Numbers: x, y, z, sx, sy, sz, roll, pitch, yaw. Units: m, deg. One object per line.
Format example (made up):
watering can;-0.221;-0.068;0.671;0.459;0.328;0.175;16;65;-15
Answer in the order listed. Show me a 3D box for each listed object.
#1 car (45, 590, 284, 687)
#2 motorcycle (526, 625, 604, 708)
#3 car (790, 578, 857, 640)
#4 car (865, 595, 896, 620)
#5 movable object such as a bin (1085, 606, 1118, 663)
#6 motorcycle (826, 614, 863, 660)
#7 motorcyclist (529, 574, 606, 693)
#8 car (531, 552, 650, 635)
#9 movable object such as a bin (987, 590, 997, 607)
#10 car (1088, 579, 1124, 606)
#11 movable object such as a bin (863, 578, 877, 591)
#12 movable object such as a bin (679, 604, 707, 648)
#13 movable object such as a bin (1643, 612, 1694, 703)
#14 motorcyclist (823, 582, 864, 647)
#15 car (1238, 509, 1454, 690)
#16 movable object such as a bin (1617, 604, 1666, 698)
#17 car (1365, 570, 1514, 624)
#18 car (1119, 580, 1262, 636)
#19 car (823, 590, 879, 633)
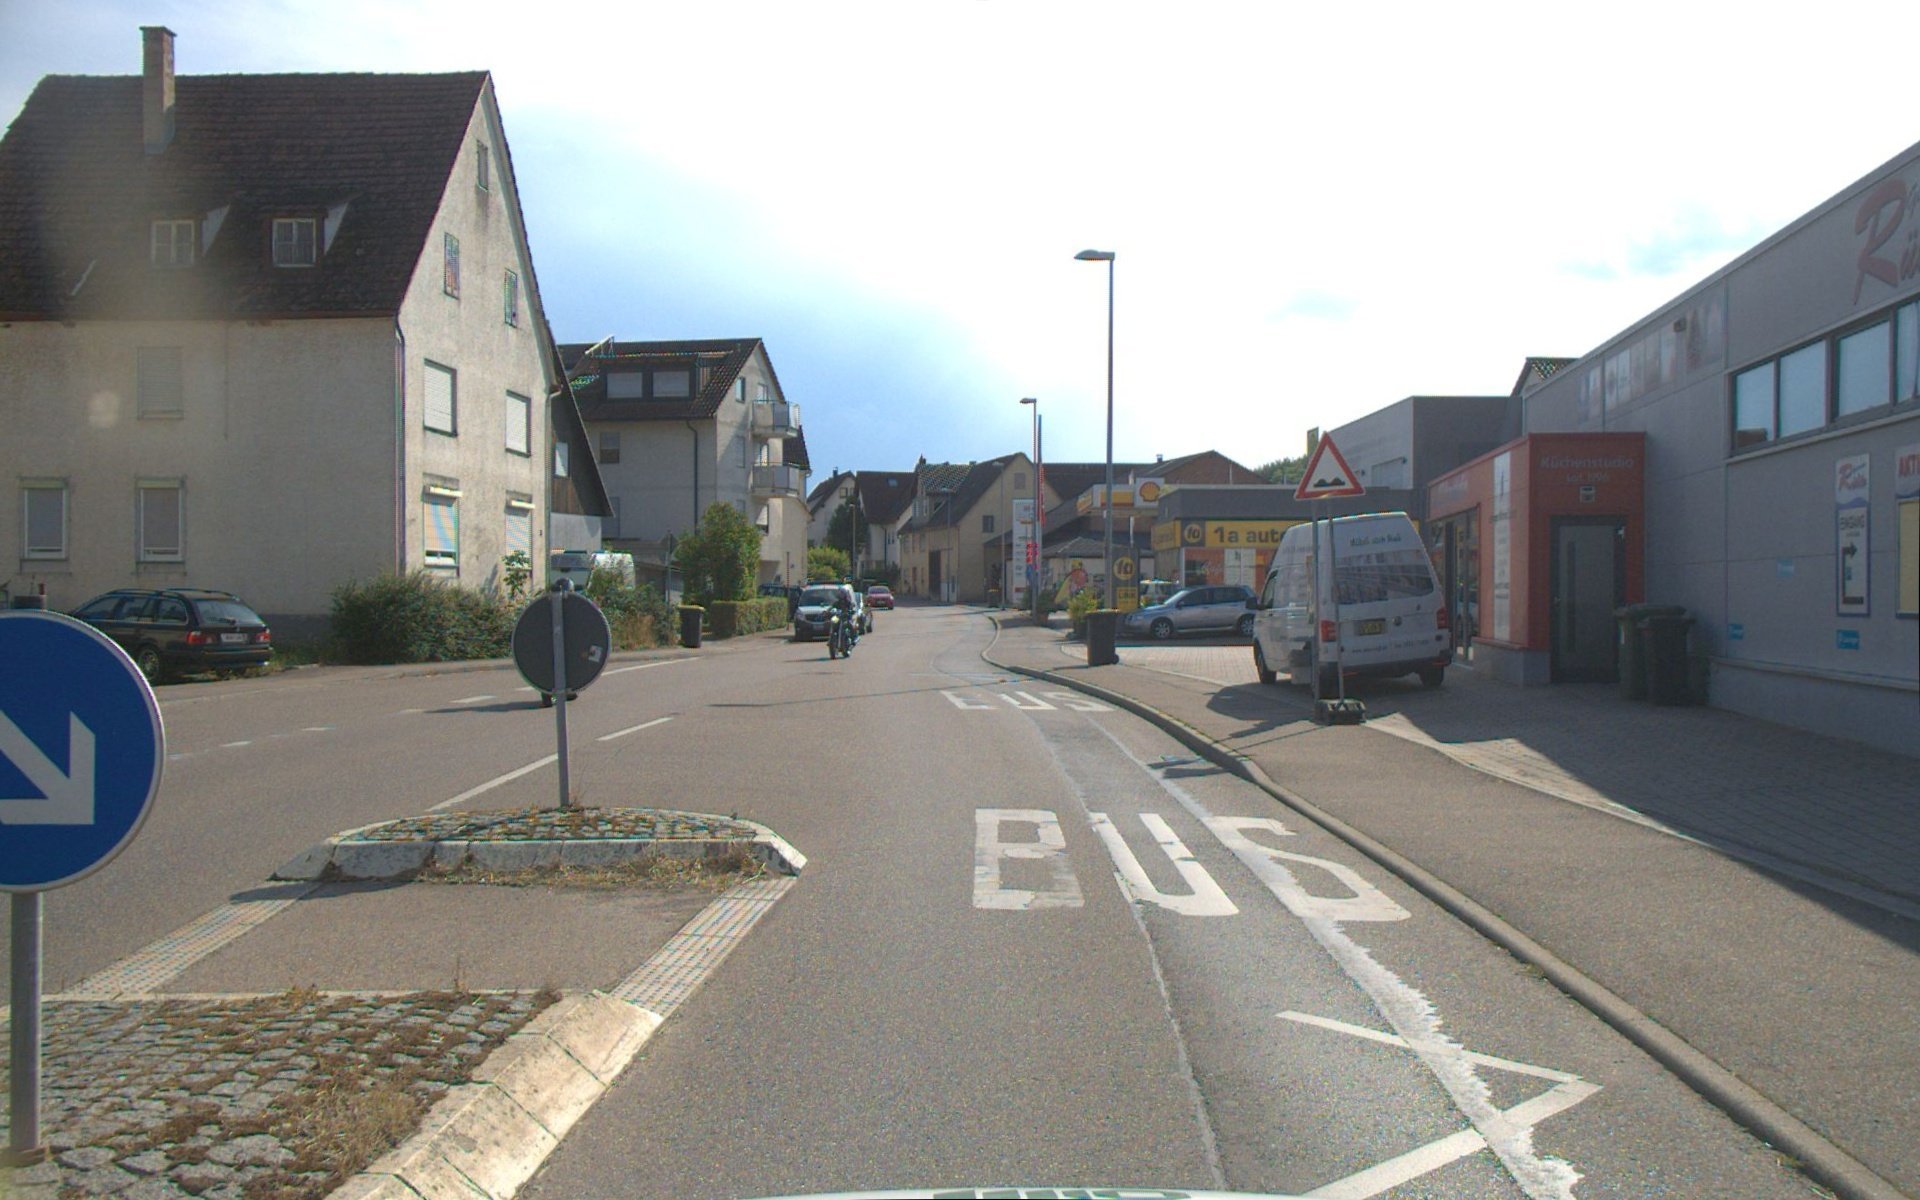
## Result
car;-13.400;0.599;27.822;3.911;1.458;1.651;1;1;29
motorcycle;-5.352;0.884;22.503;0.527;1.030;2.028;2;0;0
car;-4.418;0.270;54.037;1.681;1.905;4.193;-1;1;2
car;-5.047;0.473;104.407;1.676;1.460;3.774;-2;0;-7
movable object such as a bin;2.810;0.686;32.823;0.556;1.094;0.572;-1;0;-4
motorcycle;-2.674;0.841;38.471;0.513;1.030;2.029;1;0;5
motorcyclist;-5.337;0.453;22.519;0.721;1.553;1.016;3;-1;0
car;-12.383;-0.253;55.957;2.113;2.641;6.098;1;1;5
movable object such as a bin;2.015;-0.083;104.176;0.640;1.092;0.513;0;1;-3
car;8.206;-0.427;93.316;1.546;1.452;4.380;0;1;-1
movable object such as a bin;-8.346;-1.425;153.226;1.140;1.188;0.653;0;1;-12
movable object such as a bin;-7.009;0.683;43.393;0.598;1.120;0.576;1;-1;1
movable object such as a bin;7.854;0.631;18.338;0.420;0.983;0.431;0;0;8
motorcyclist;-2.698;0.330;38.415;0.785;1.461;1.037;1;0;5
car;5.622;-0.027;24.801;1.799;2.416;5.176;-1;0;-3
movable object such as a bin;7.848;0.575;19.057;0.420;1.060;0.490;0;0;8
car;13.937;-0.105;48.229;3.826;1.493;1.716;0;2;-3
car;6.711;0.229;48.378;3.909;1.558;1.526;-1;1;-5
car;-3.909;0.395;59.825;1.638;1.477;3.835;-1;1;2
